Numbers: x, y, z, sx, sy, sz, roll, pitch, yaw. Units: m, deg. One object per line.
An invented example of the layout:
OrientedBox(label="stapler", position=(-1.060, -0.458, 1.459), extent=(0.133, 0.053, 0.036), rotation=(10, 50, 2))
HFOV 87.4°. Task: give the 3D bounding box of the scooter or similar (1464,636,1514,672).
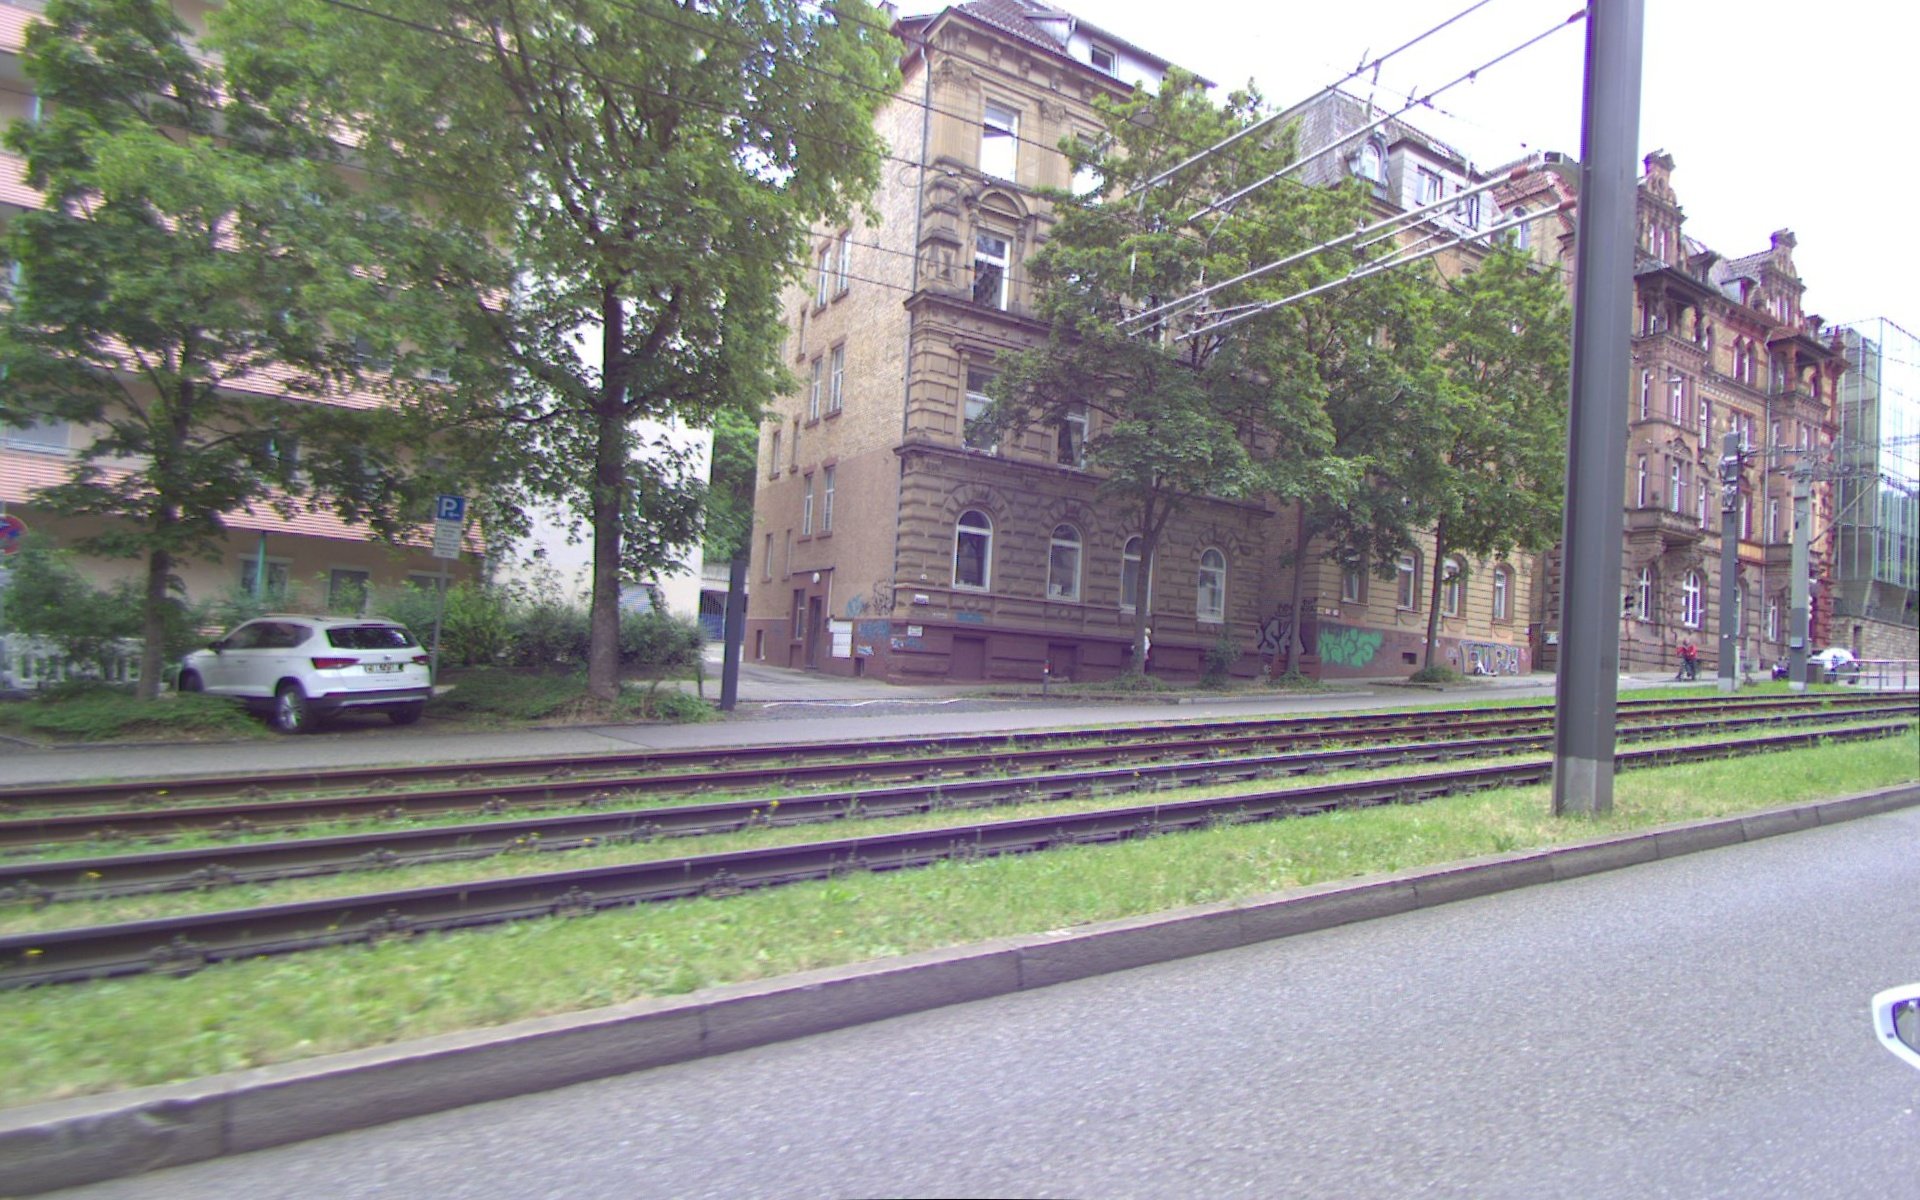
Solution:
OrientedBox(label="scooter or similar", position=(19.506, 1.978, 37.004), extent=(2.191, 1.271, 0.625), rotation=(2, -1, -33))

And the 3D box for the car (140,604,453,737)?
OrientedBox(label="car", position=(-10.022, 0.954, 15.133), extent=(4.522, 1.639, 1.934), rotation=(1, 0, 27))

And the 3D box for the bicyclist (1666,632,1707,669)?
OrientedBox(label="bicyclist", position=(28.977, 2.024, 40.090), extent=(1.174, 1.444, 0.934), rotation=(1, -2, -30))

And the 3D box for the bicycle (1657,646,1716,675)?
OrientedBox(label="bicycle", position=(29.010, 2.406, 40.104), extent=(2.671, 1.114, 0.934), rotation=(1, -2, -30))

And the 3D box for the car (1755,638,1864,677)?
OrientedBox(label="car", position=(32.852, 2.212, 38.820), extent=(3.952, 1.421, 1.985), rotation=(2, -2, -29))

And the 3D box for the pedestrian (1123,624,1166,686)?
OrientedBox(label="pedestrian", position=(5.140, 1.523, 27.964), extent=(0.839, 1.706, 0.827), rotation=(2, -2, -32))
